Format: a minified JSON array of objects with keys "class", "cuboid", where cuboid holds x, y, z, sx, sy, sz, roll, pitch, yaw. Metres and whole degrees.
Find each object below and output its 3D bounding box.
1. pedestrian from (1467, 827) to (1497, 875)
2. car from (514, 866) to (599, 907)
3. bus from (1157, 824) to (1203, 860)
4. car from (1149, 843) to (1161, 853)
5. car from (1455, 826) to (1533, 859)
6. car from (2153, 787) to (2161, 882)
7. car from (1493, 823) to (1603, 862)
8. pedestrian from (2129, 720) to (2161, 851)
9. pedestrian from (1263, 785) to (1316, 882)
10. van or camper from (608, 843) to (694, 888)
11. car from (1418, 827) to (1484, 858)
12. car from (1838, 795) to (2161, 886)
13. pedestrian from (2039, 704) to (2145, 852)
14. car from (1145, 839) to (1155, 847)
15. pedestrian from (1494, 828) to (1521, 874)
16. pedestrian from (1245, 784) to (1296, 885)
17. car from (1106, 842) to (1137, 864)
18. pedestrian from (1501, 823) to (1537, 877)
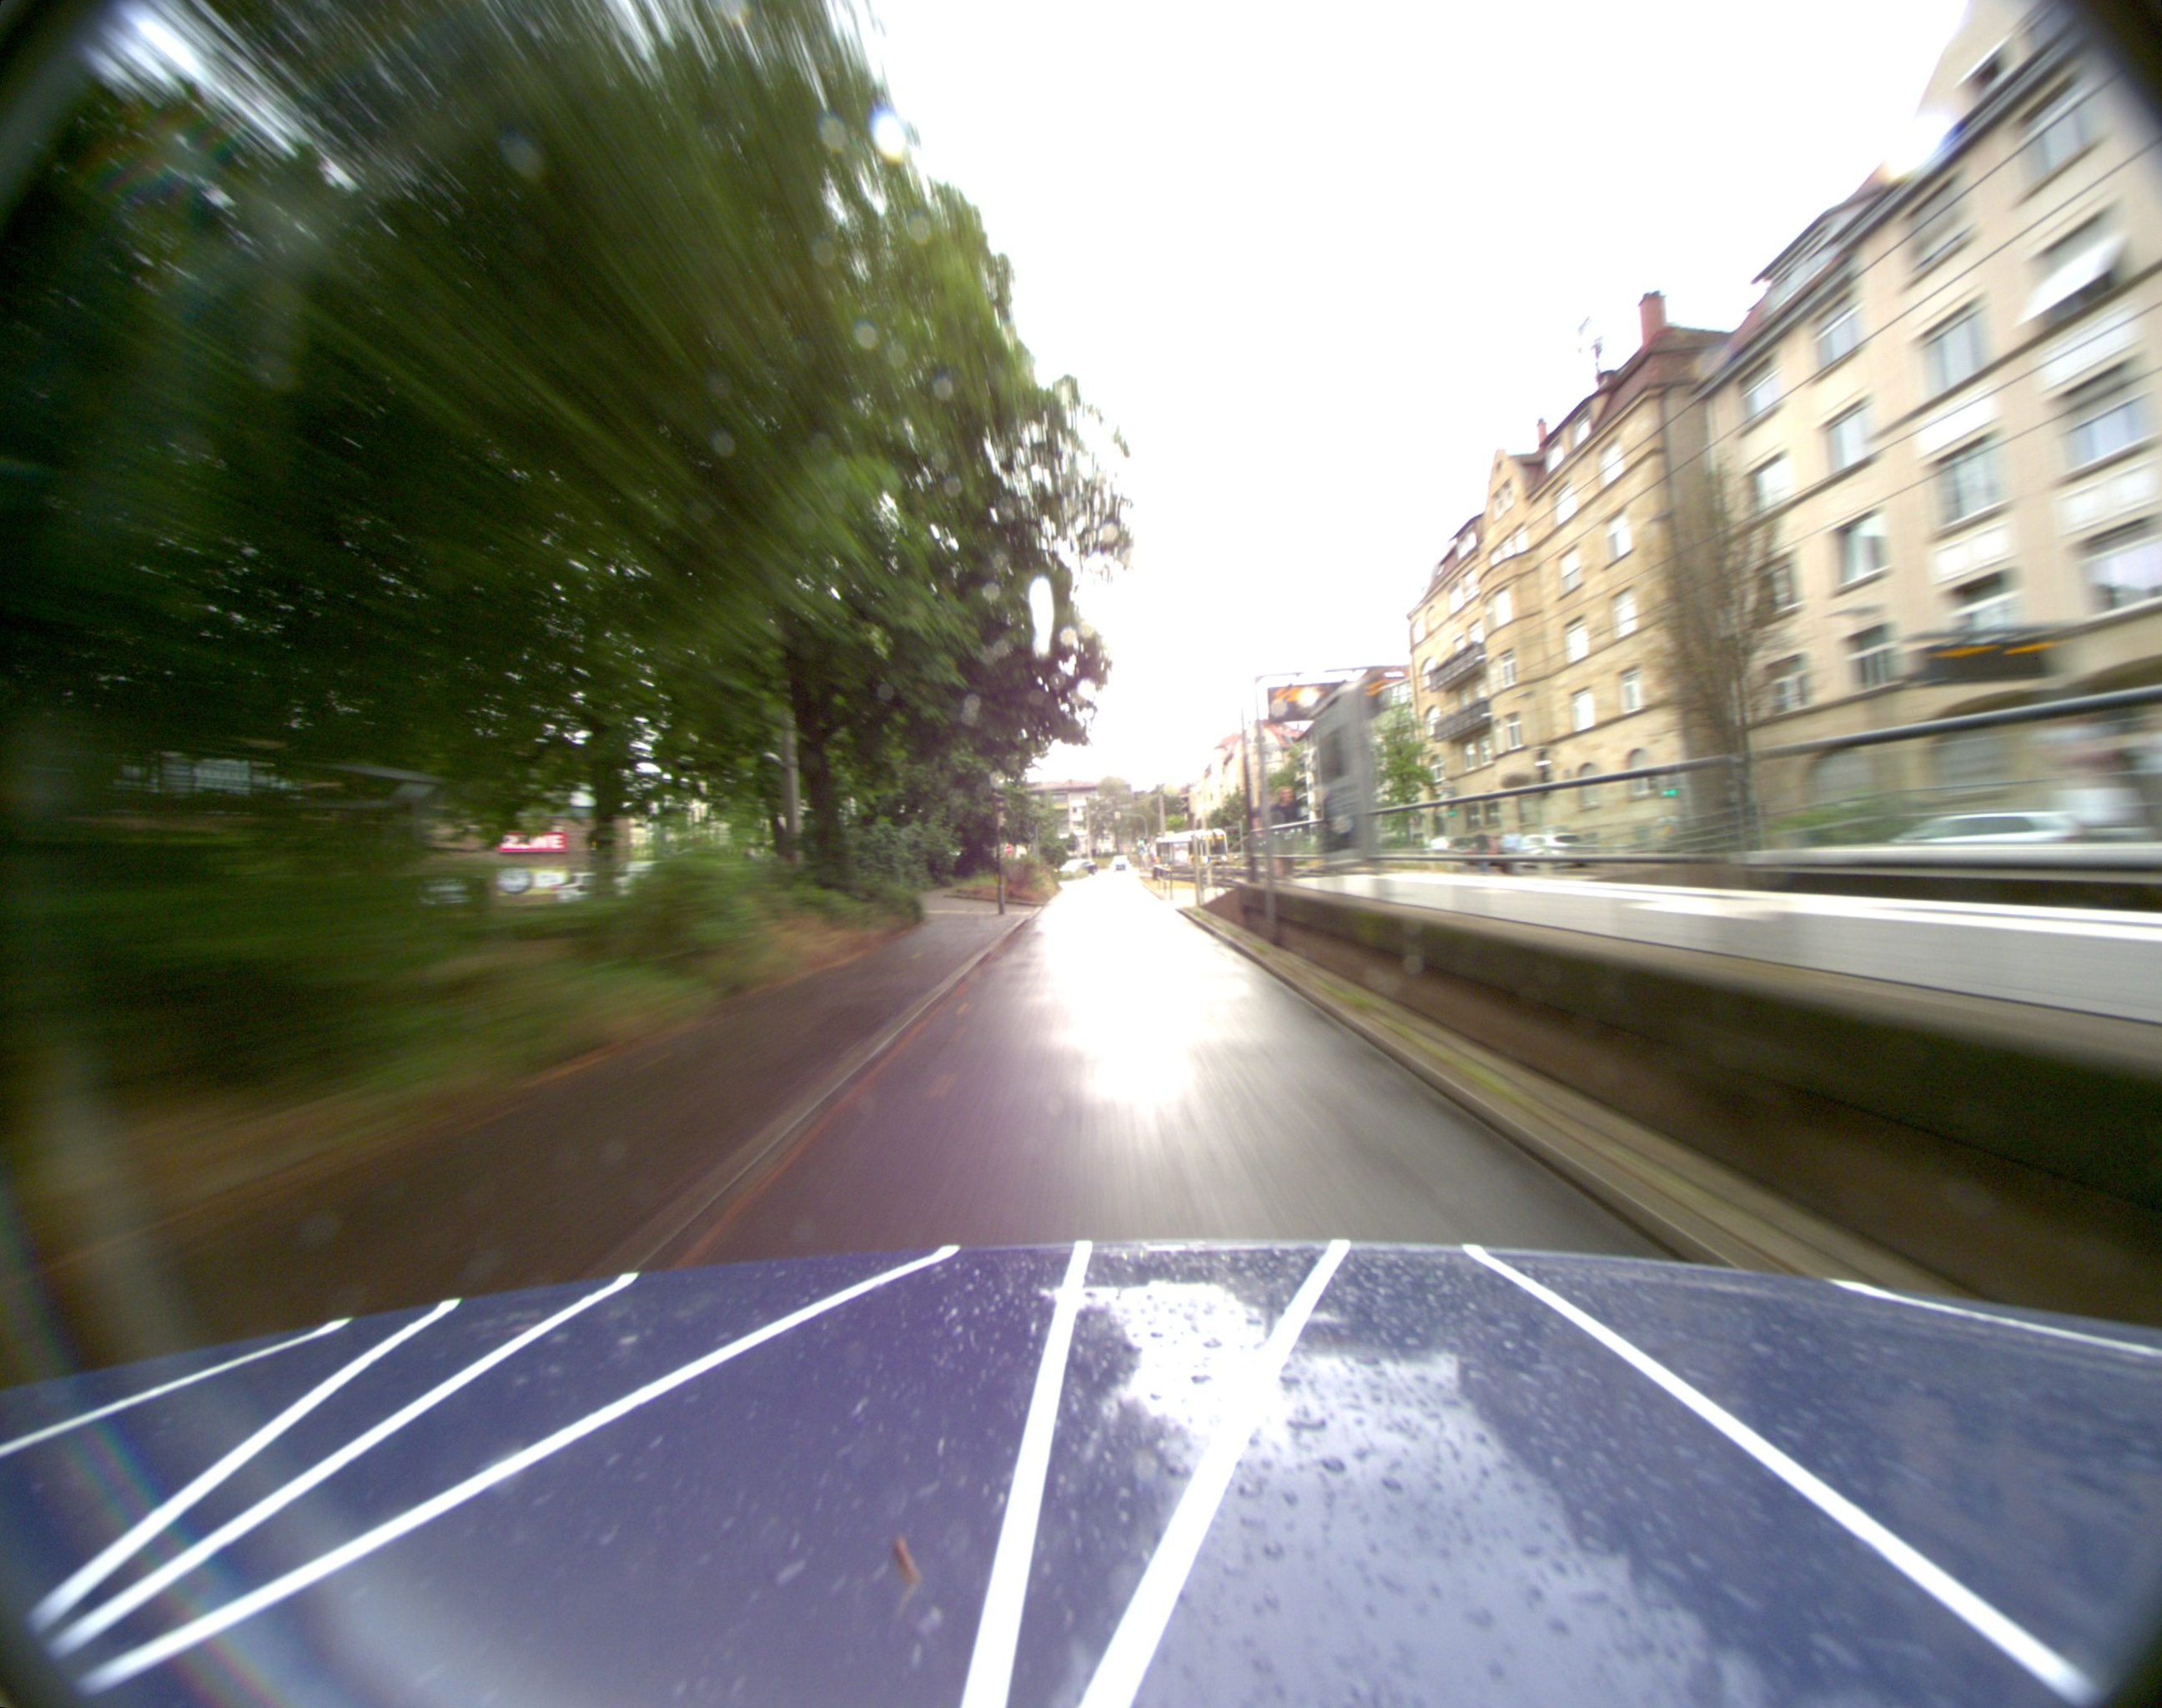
[{"class":"pedestrian","cuboid":[13.843,-0.107,26.237,0.626,1.584,0.620,-3,1,3]},{"class":"car","cuboid":[-21.131,1.277,30.563,3.989,1.456,2.004,-2,1,44]},{"class":"bus","cuboid":[10.410,-1.248,81.092,2.598,3.449,9.101,-3,1,-6]},{"class":"car","cuboid":[14.857,-1.250,152.035,1.804,1.824,4.283,-3,1,-1]},{"class":"car","cuboid":[20.265,-0.544,37.461,1.634,1.434,4.175,-3,0,2]},{"class":"car","cuboid":[19.166,-0.360,10.668,1.927,1.613,4.536,-2,0,3]},{"class":"car","cuboid":[19.818,-0.468,32.523,1.721,1.434,4.868,-3,0,1]},{"class":"pedestrian","cuboid":[13.434,-0.839,9.267,0.517,1.596,0.563,-1,1,1]},{"class":"pedestrian","cuboid":[3.491,-0.330,12.779,0.652,1.553,0.684,-3,1,2]},{"class":"van or camper","cuboid":[-19.057,0.485,33.580,2.004,1.823,5.167,-2,1,-44]},{"class":"car","cuboid":[20.382,-0.603,42.028,1.634,1.538,4.175,-3,0,2]},{"class":"car","cuboid":[19.469,-0.329,16.293,1.998,1.524,4.532,-5,2,2]},{"class":"pedestrian","cuboid":[13.085,-0.959,9.850,0.562,1.839,0.598,-1,1,1]},{"class":"car","cuboid":[15.007,-2.374,165.169,1.804,1.824,4.283,-3,1,-1]},{"class":"pedestrian","cuboid":[14.437,-0.104,25.728,0.521,1.523,0.620,-3,1,-1]},{"class":"pedestrian","cuboid":[3.480,-0.348,14.008,0.652,1.774,0.847,-3,1,2]},{"class":"car","cuboid":[4.090,-0.081,77.390,2.000,2.002,3.996,-4,0,-12]},{"class":"pedestrian","cuboid":[14.291,-0.130,24.802,0.721,1.690,0.729,-3,1,3]}]
